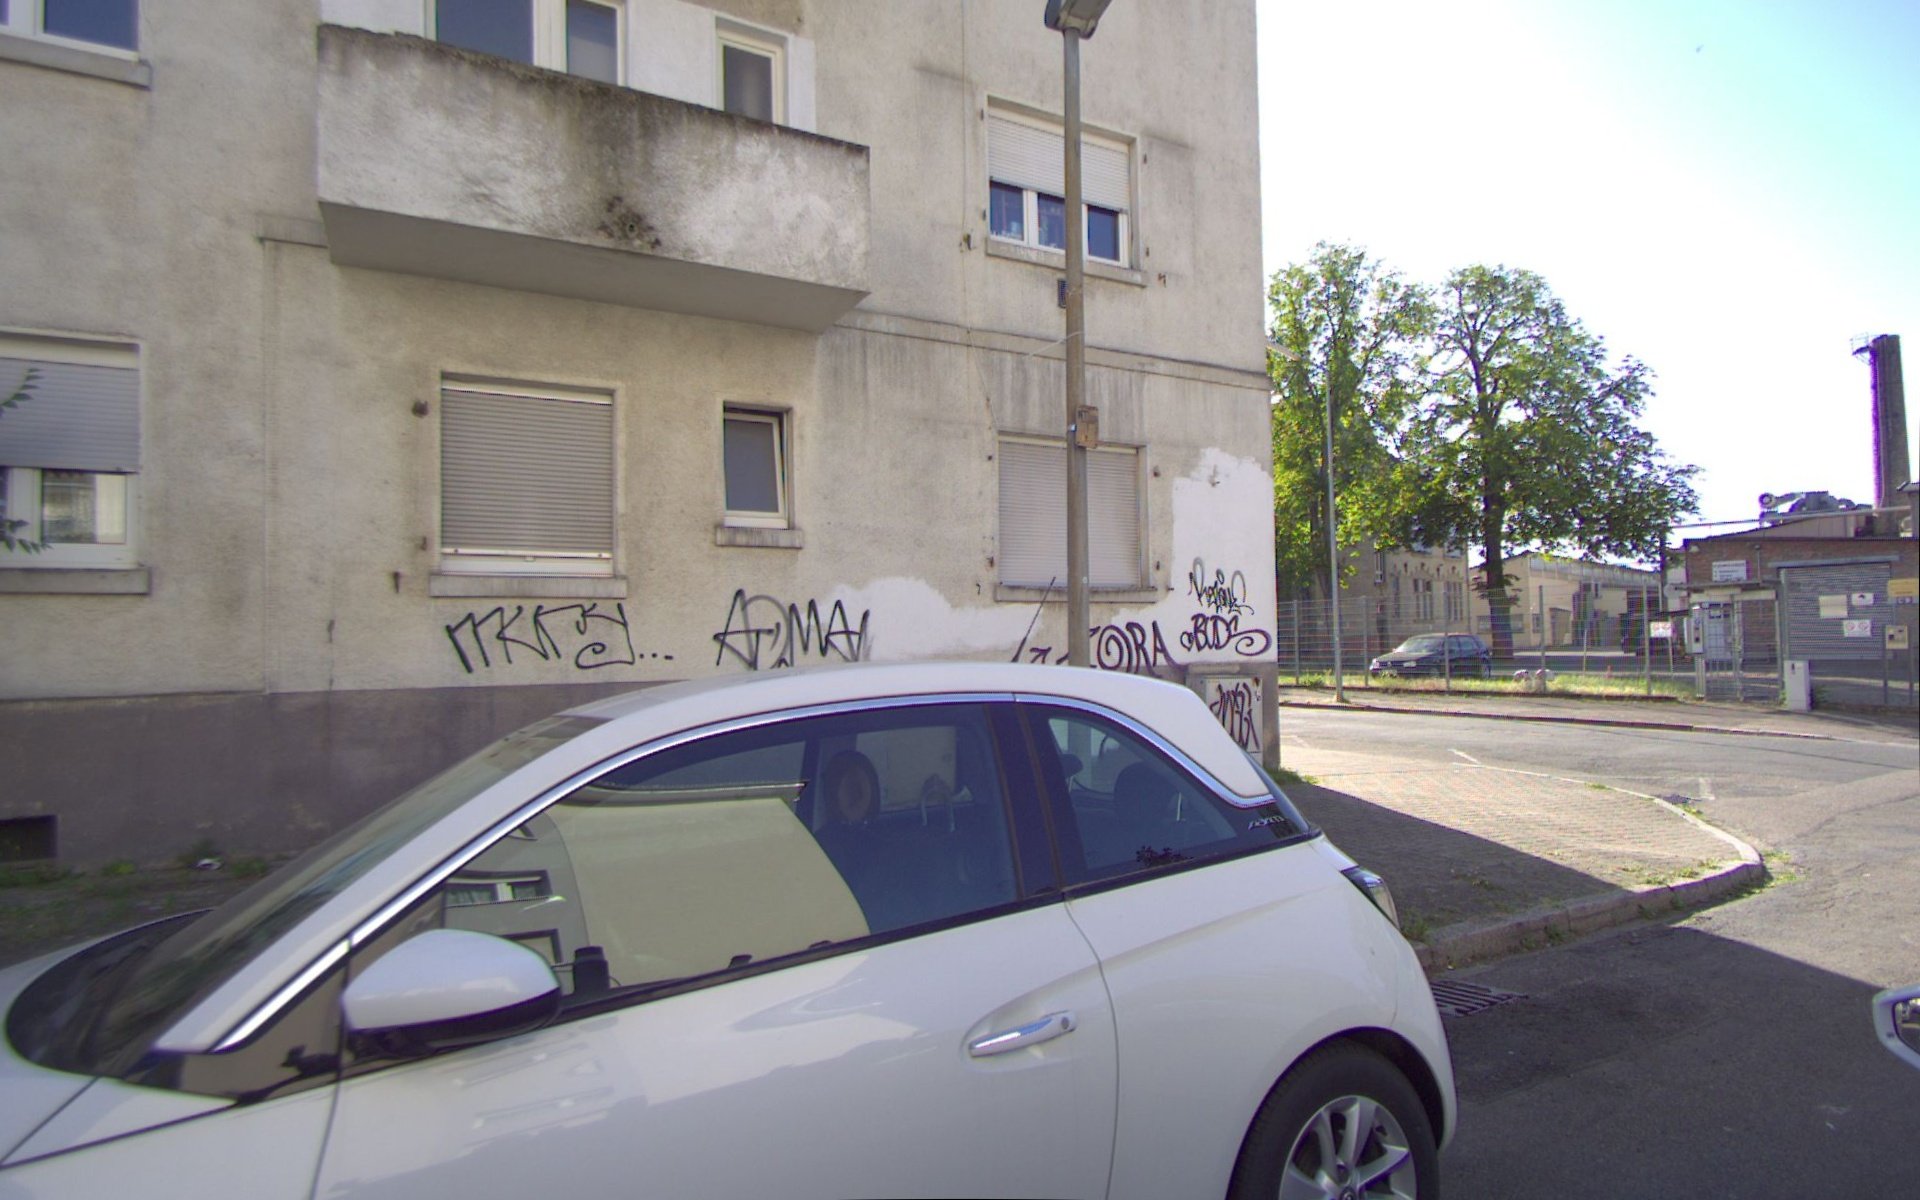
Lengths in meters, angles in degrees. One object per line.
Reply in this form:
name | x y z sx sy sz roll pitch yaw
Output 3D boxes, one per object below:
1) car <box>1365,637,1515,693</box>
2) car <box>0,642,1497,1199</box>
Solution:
car | 13.687 1.805 28.625 3.953 1.438 1.985 0 -3 -30
car | -0.762 0.886 2.253 3.674 1.477 1.681 1 -4 -28
